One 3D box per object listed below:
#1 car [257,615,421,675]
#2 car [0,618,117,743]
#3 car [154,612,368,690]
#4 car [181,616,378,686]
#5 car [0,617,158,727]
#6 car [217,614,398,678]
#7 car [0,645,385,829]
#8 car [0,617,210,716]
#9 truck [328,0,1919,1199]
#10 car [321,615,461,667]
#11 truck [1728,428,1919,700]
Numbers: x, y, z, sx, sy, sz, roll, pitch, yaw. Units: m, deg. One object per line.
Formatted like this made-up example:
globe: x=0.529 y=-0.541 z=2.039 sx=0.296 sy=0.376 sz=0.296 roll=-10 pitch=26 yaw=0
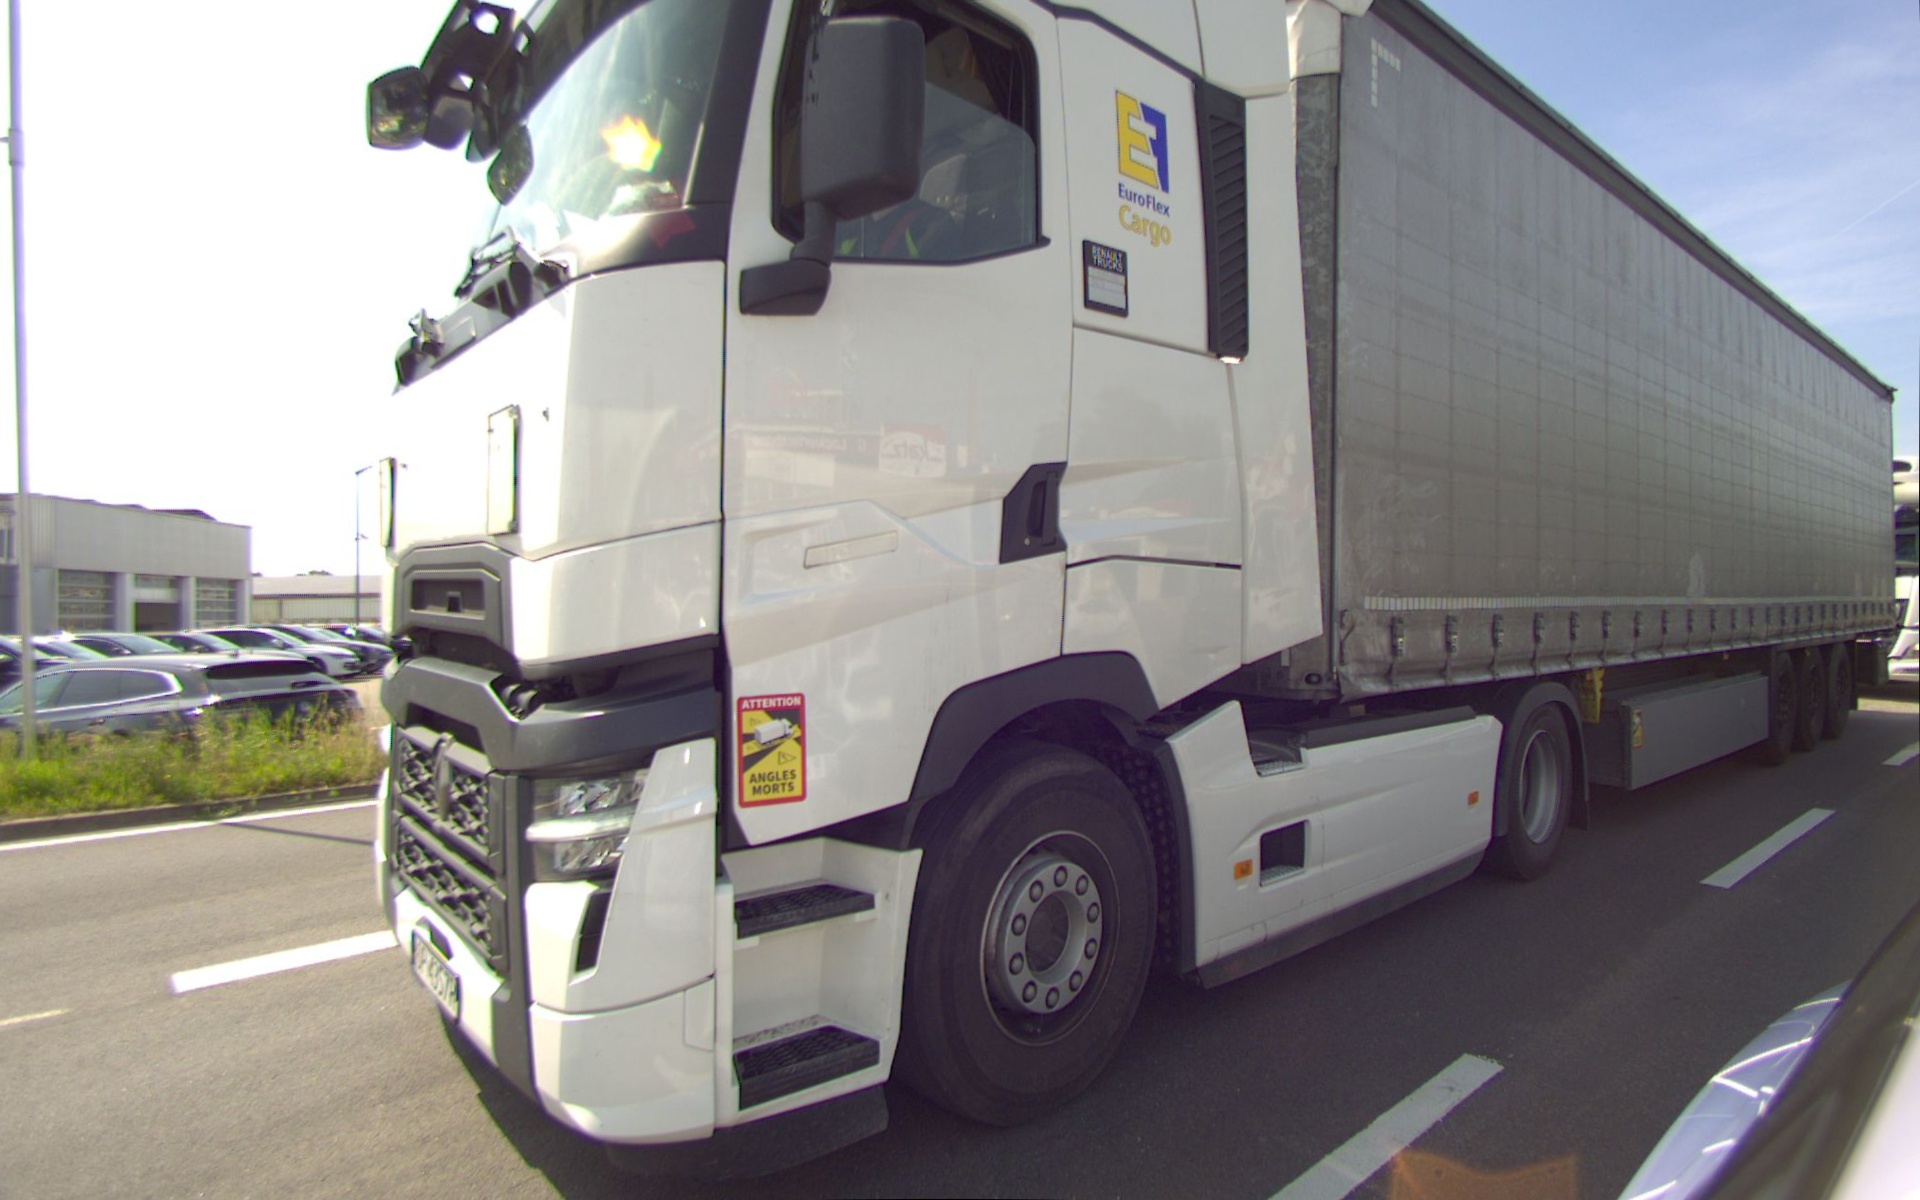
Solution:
car: x=-19.921 y=1.410 z=32.647 sx=4.143 sy=1.777 sz=1.911 roll=0 pitch=-1 yaw=-15
car: x=-15.363 y=1.208 z=15.147 sx=4.156 sy=1.812 sz=1.981 roll=0 pitch=-1 yaw=-39
car: x=-17.704 y=1.242 z=25.891 sx=4.143 sy=1.812 sz=1.987 roll=0 pitch=-1 yaw=-20
car: x=-18.766 y=1.363 z=28.131 sx=4.143 sy=1.777 sz=1.911 roll=0 pitch=-1 yaw=-15
car: x=-16.547 y=1.220 z=17.522 sx=4.156 sy=1.812 sz=1.981 roll=0 pitch=-1 yaw=-39
car: x=-19.332 y=1.325 z=30.175 sx=4.143 sy=1.777 sz=1.911 roll=0 pitch=-1 yaw=-15
car: x=-7.922 y=1.179 z=9.728 sx=4.288 sy=1.420 sz=1.729 roll=-1 pitch=-1 yaw=17
car: x=-17.775 y=1.277 z=20.174 sx=4.143 sy=1.812 sz=1.987 roll=0 pitch=-1 yaw=-20
truck: x=4.652 y=-0.771 z=8.232 sx=16.411 sy=4.320 sz=2.896 roll=0 pitch=0 yaw=-40
car: x=-20.894 y=1.480 z=37.324 sx=4.143 sy=1.777 sz=1.911 roll=0 pitch=-1 yaw=-15
truck: x=17.388 y=-0.543 z=18.391 sx=10.940 sy=3.859 sz=2.886 roll=0 pitch=0 yaw=-39
